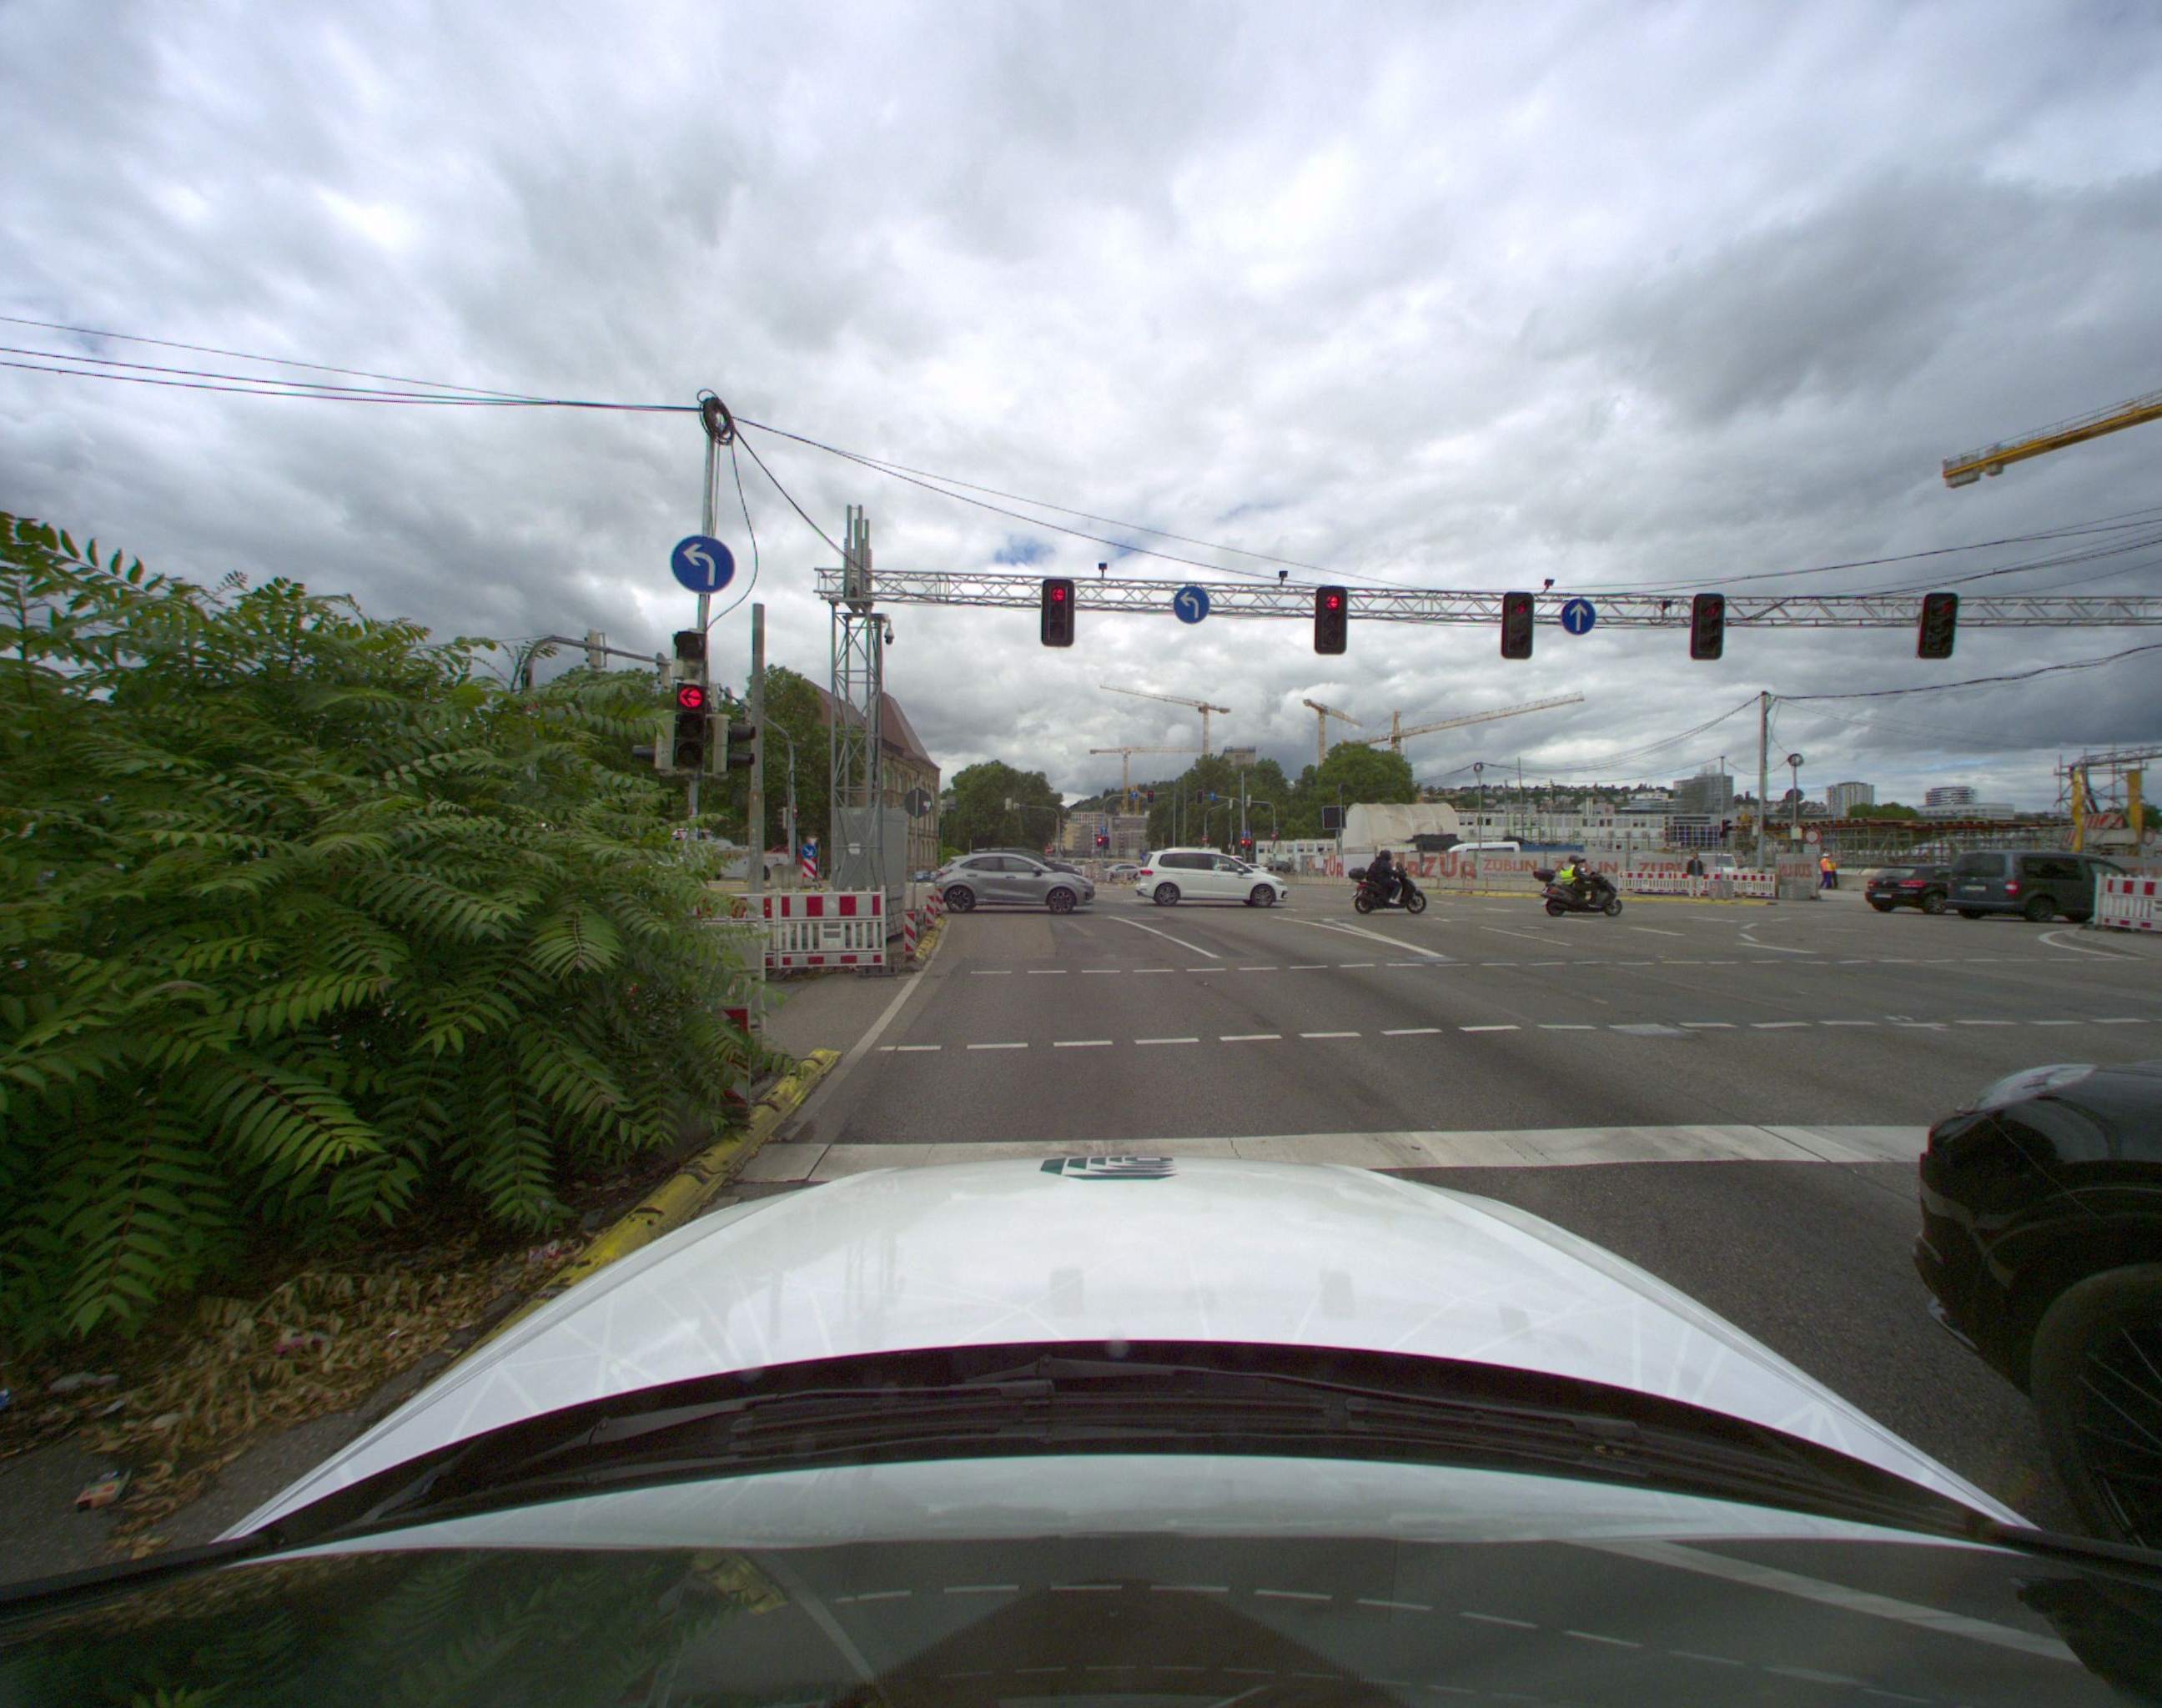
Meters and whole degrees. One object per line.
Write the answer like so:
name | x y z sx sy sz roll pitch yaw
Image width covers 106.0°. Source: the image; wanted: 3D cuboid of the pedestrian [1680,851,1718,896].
pedestrian | 25.741 0.817 33.928 1.035 1.848 0.794 -1 -1 17

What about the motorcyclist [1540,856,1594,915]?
motorcyclist | 12.360 0.789 20.733 0.875 1.489 0.818 0 -1 2

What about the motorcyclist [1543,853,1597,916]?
motorcyclist | 12.446 0.771 20.751 0.875 1.571 0.818 0 -1 2

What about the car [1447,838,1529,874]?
car | 23.467 0.117 47.111 3.955 2.014 2.009 -1 -1 17

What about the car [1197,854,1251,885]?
car | 8.366 0.889 48.007 1.991 1.759 4.495 0 -1 -6

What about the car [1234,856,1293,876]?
car | 17.601 1.131 78.509 5.189 1.785 2.149 0 -1 -21

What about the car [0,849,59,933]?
car | -24.331 0.760 16.790 3.975 1.740 1.909 0 -1 -1

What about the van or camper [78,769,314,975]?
van or camper | -14.222 0.216 13.103 6.006 2.610 2.173 0 0 41

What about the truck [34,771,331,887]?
truck | -22.516 -0.596 20.677 4.196 2.725 2.859 0 -1 -4

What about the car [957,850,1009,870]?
car | -8.533 0.524 71.015 4.164 1.724 1.895 0 -1 -22

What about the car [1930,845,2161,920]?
car | 24.759 0.694 20.711 4.254 1.805 2.000 0 -1 1

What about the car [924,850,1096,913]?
car | -1.775 0.700 21.436 4.281 1.540 1.999 0 -1 -1

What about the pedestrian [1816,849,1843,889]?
pedestrian | 38.287 0.744 41.668 0.673 2.014 0.869 -1 -1 14

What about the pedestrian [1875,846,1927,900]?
pedestrian | 31.385 0.721 31.175 1.022 2.014 1.051 -1 -1 19

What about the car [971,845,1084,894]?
car | -2.166 0.597 32.304 4.246 1.834 1.992 0 -1 -12

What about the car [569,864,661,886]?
car | -31.807 1.422 55.790 5.153 1.419 2.221 0 -1 -22

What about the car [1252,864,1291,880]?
car | 20.543 1.983 87.988 3.964 1.662 2.005 0 -1 8

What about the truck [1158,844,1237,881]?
truck | 10.284 0.727 71.940 6.607 3.146 2.350 0 -1 -22

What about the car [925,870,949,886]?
car | -17.491 2.857 99.223 1.985 1.838 4.003 0 -1 3

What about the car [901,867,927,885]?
car | -17.899 2.371 87.369 1.987 1.838 3.998 0 -1 -1

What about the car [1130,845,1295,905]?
car | 3.862 0.622 24.489 4.656 1.702 1.999 0 -1 -1

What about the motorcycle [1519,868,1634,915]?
motorcycle | 12.596 0.949 20.743 2.413 1.155 0.818 0 -1 2

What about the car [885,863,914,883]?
car | -17.375 1.765 78.106 1.987 1.838 3.998 0 -1 -1

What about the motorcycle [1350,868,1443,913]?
motorcycle | 8.212 0.941 21.250 2.159 1.155 0.652 0 -1 2

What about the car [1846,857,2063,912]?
car | 25.628 0.873 24.046 4.087 1.547 2.003 0 -1 5

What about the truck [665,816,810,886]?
truck | -25.658 -0.225 61.449 9.738 4.961 3.096 0 -1 -17

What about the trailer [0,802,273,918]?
trailer | -25.572 0.155 20.468 7.333 2.725 2.859 0 -1 -4

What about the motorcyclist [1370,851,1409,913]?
motorcyclist | 8.044 0.720 21.269 0.783 1.597 0.652 0 -1 2

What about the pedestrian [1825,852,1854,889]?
pedestrian | 39.173 0.838 42.070 0.677 1.916 0.865 0 -1 -4

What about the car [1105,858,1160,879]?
car | 4.605 1.257 72.918 4.585 1.775 1.985 0 0 -23

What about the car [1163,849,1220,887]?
car | 5.685 0.692 41.417 1.848 1.833 4.746 -1 -1 20
